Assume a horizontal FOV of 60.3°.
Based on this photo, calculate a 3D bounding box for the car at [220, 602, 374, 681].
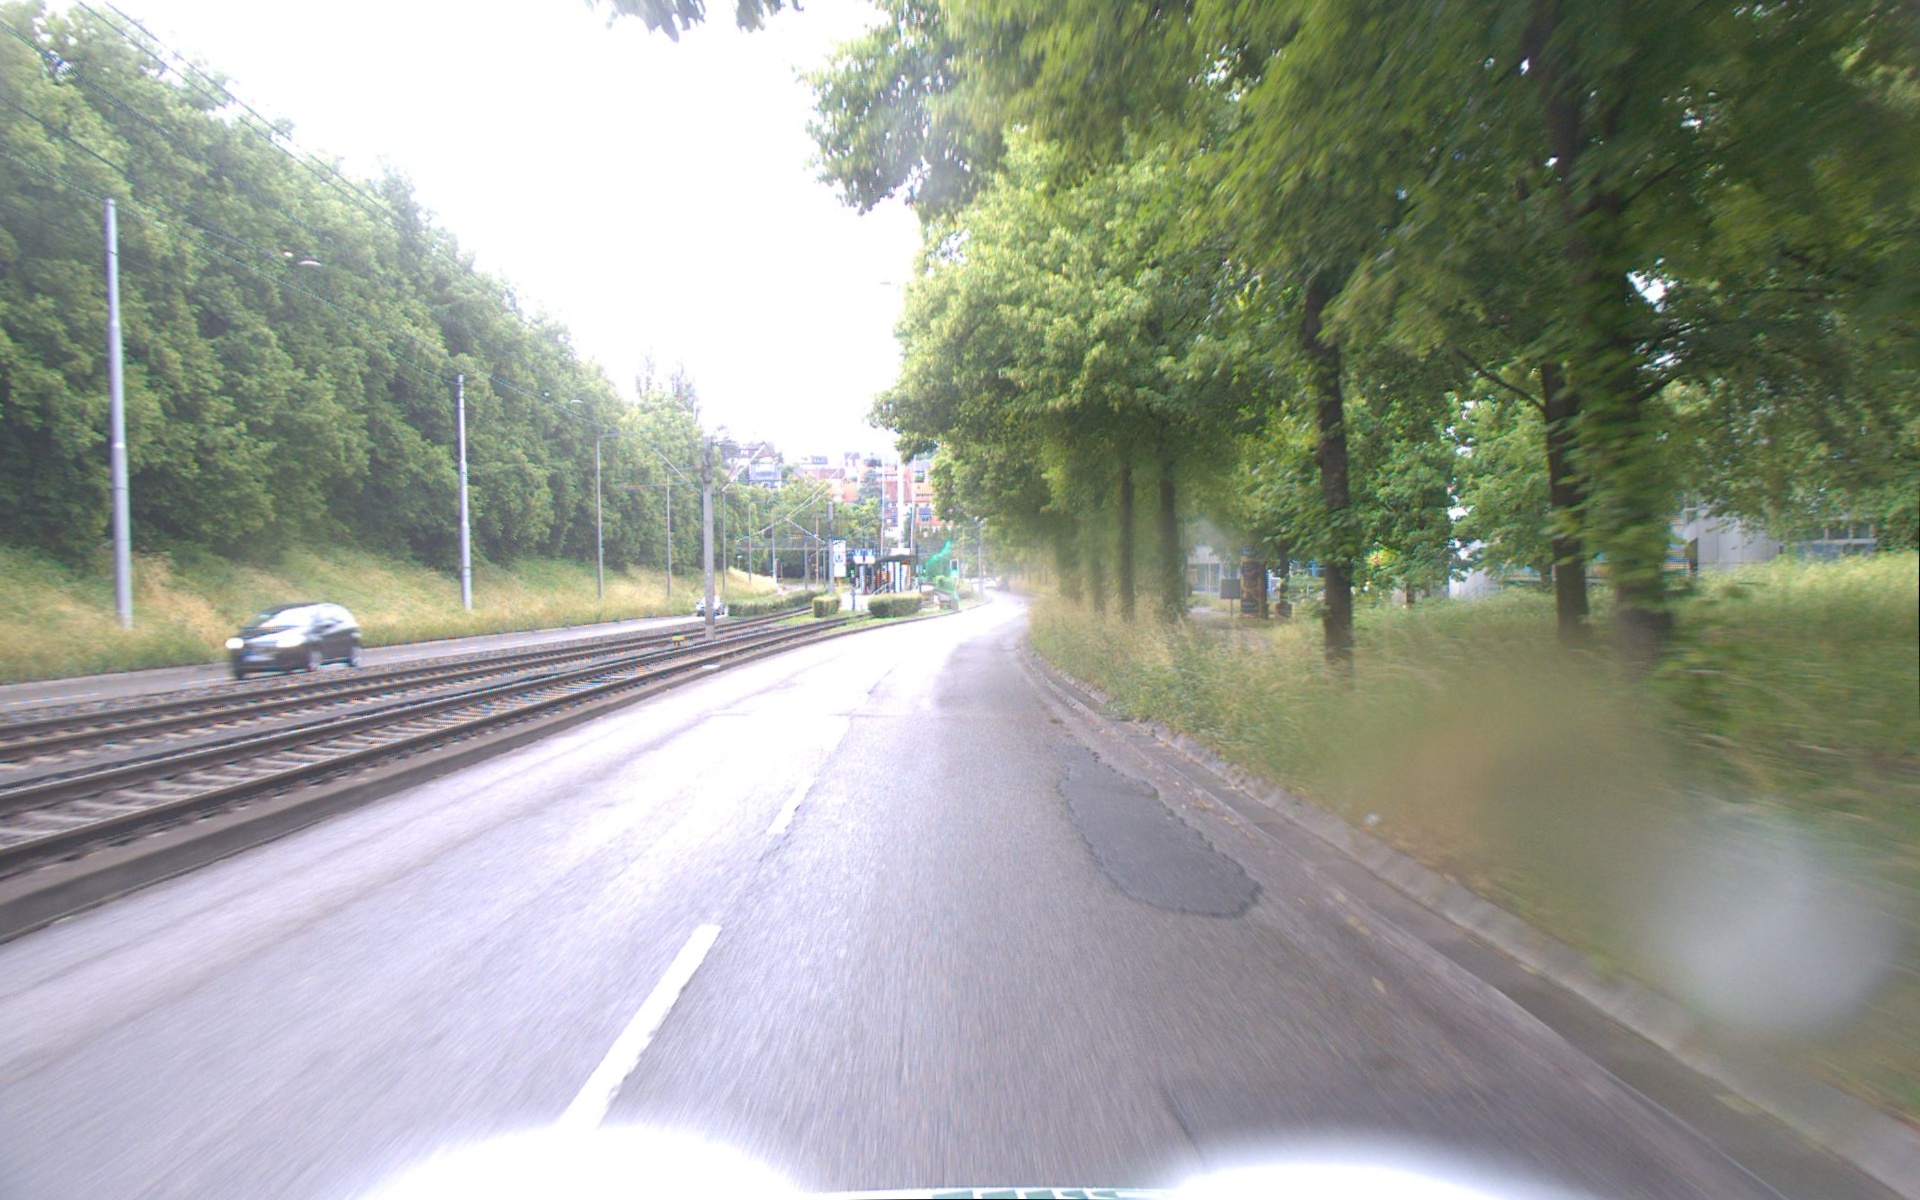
[{"bbox_3d":[-13.793,0.817,34.632,1.636,1.468,4.025,-3,0,-2],"label":"car"}]

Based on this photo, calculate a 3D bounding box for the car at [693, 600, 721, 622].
[{"bbox_3d":[-19.402,0.816,126.969,1.749,1.579,3.959,-2,0,-3],"label":"car"}]
